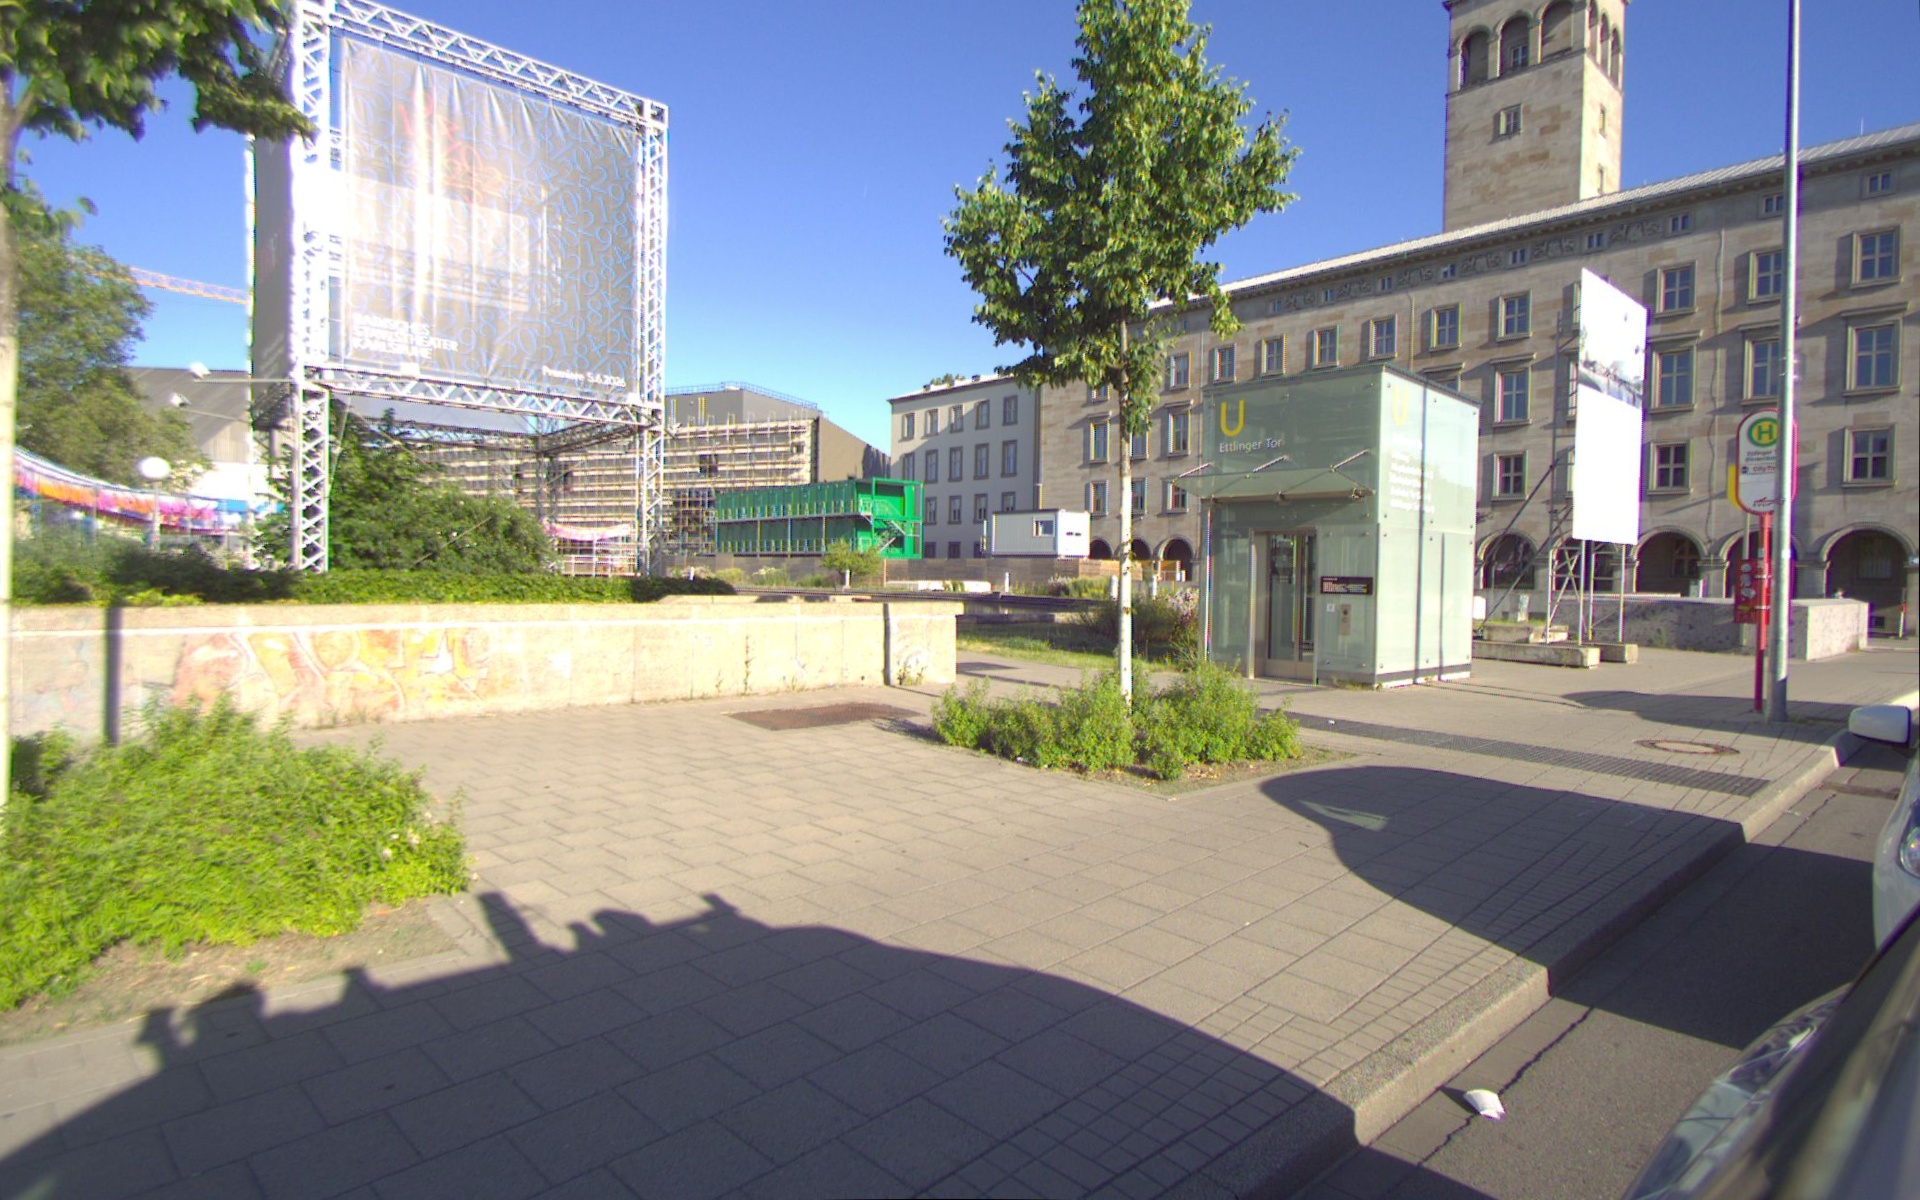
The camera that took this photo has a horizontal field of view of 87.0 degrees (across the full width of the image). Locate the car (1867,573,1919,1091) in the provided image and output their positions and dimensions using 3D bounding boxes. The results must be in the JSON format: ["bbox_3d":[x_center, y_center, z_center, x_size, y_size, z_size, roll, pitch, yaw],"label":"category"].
[{"bbox_3d":[4.645,0.676,3.670,3.930,1.473,1.518,0,2,-41],"label":"car"}]

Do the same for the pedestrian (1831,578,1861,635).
[{"bbox_3d":[27.356,0.201,31.241,0.572,1.732,0.595,0,1,-41],"label":"pedestrian"}]
